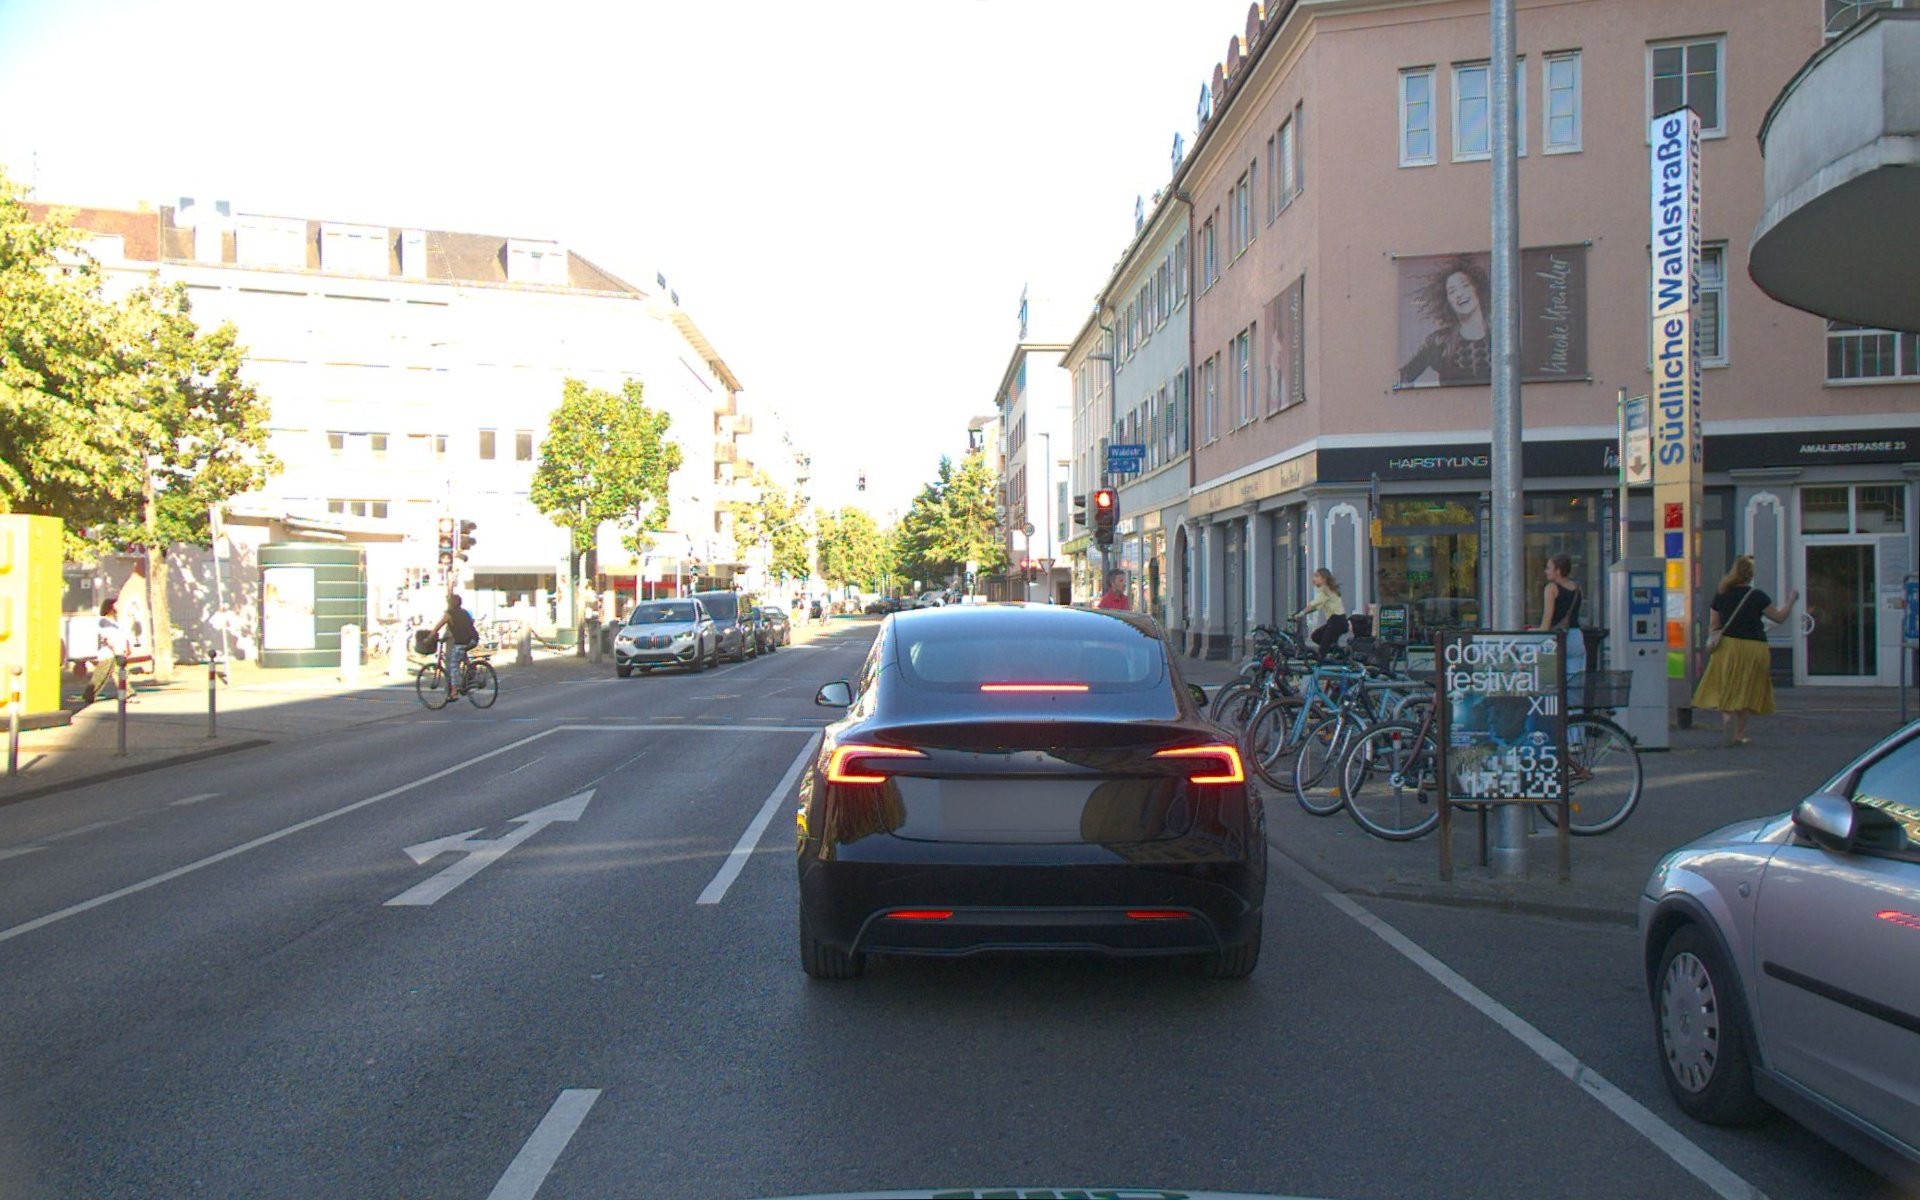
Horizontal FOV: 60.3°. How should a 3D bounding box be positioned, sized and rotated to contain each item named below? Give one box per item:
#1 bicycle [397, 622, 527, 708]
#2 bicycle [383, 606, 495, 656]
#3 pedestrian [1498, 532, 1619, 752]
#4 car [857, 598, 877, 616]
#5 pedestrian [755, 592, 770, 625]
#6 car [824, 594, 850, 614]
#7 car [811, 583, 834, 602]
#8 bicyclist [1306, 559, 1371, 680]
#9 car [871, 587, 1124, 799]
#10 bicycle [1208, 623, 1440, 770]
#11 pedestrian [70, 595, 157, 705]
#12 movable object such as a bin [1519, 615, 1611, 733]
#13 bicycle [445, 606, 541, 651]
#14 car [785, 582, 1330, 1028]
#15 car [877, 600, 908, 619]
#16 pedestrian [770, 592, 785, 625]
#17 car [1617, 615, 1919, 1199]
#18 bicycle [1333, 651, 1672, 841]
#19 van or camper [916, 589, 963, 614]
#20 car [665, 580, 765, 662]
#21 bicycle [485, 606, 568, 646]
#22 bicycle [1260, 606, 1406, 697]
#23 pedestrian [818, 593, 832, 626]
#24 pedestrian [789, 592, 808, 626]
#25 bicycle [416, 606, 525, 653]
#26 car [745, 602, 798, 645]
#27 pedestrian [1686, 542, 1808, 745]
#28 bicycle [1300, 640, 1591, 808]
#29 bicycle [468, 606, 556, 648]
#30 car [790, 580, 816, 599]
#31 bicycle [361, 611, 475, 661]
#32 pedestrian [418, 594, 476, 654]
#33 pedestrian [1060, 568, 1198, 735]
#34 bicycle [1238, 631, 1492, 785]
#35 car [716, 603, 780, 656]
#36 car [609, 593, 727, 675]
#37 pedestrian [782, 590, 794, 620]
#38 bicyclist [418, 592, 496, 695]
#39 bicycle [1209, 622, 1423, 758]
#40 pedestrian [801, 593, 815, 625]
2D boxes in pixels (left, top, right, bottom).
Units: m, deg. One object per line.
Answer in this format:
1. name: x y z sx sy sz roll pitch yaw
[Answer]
1. bicycle: -7.514 0.988 24.944 1.954 1.244 0.629 -2 -2 25
2. bicycle: -14.124 0.843 44.929 2.725 1.296 0.932 1 0 -4
3. pedestrian: 5.374 0.371 14.901 0.667 1.882 0.893 -3 -1 1
4. car: -10.507 0.826 186.972 2.089 2.004 4.133 0 0 -1
5. pedestrian: -11.554 0.477 96.672 0.721 1.900 0.787 1 -1 -17
6. car: -12.349 0.392 166.268 2.365 2.004 4.677 0 0 -1
7. car: -15.606 -0.820 188.068 2.228 2.049 4.717 1 0 0
8. bicyclist: 5.253 0.267 22.936 0.808 1.642 0.580 -2 0 16
9. car: 0.244 0.684 14.202 1.812 1.507 4.450 1 0 -1
10. bicycle: 2.979 0.782 13.646 1.776 1.172 0.653 0 0 0
11. pedestrian: -12.331 0.717 24.111 0.904 1.570 0.694 1 -1 -6
12. movable object such as a bin: 6.043 0.730 16.548 0.623 1.122 0.728 -2 0 3
13. bicycle: -14.010 0.844 49.649 2.609 1.281 0.942 1 0 -4
14. car: 0.301 0.699 7.778 1.812 1.472 4.450 1 0 -1
15. car: -6.521 0.893 158.994 2.004 1.819 3.986 0 0 -18
16. pedestrian: -10.739 0.493 97.099 0.721 1.900 0.787 1 -1 -17
17. car: 2.923 0.780 3.544 1.551 1.451 3.579 1 0 -1
18. bicycle: 3.280 0.873 10.098 1.844 1.062 0.653 -1 0 0
19. van or camper: -2.072 0.168 167.526 4.752 2.481 1.850 0 0 -1
20. car: -6.231 0.505 42.571 1.906 1.981 4.819 0 0 -1
21. bicycle: -14.228 0.856 54.345 2.491 1.273 0.942 1 0 -4
22. bicycle: 5.177 0.714 22.953 1.912 1.178 0.576 -2 -1 16
23. pedestrian: -7.898 0.541 96.815 0.759 1.900 1.007 1 -1 -7
24. pedestrian: -9.220 0.508 94.418 0.719 1.900 0.790 1 -1 28
25. bicycle: -14.000 0.829 47.330 2.818 1.292 0.942 1 0 -4
26. car: -6.588 0.802 58.093 1.660 1.414 3.913 1 0 -4
27. pedestrian: 7.219 0.394 15.209 0.706 1.785 0.788 -2 -1 5
28. bicycle: 3.251 0.820 11.170 1.776 1.078 0.653 0 0 0
29. bicycle: -14.062 0.849 51.923 2.491 1.273 0.942 1 0 -4
30. car: -17.023 -1.133 179.412 2.228 2.049 4.717 1 0 0
31. bicycle: -13.949 0.924 42.592 2.607 1.216 0.942 1 0 -4
32. pedestrian: -14.366 0.654 46.361 1.069 1.639 1.267 1 0 9
33. pedestrian: 1.854 0.540 18.130 1.093 1.750 1.055 1 -1 42
34. bicycle: 3.050 0.803 12.573 1.776 1.121 0.653 0 0 0
35. car: -6.336 0.852 49.698 1.431 1.455 3.605 -3 0 -1
36. car: -6.323 0.710 36.243 1.788 1.592 4.299 -4 0 -1
37. pedestrian: -10.769 0.311 103.721 0.681 1.900 0.658 1 -1 -6
38. bicyclist: -7.594 0.650 24.996 0.936 1.510 0.608 1 -1 24
39. bicycle: 3.163 0.790 14.783 1.776 1.172 0.653 0 0 0
40. pedestrian: -9.125 0.529 99.101 0.683 1.900 0.906 1 -1 -14
